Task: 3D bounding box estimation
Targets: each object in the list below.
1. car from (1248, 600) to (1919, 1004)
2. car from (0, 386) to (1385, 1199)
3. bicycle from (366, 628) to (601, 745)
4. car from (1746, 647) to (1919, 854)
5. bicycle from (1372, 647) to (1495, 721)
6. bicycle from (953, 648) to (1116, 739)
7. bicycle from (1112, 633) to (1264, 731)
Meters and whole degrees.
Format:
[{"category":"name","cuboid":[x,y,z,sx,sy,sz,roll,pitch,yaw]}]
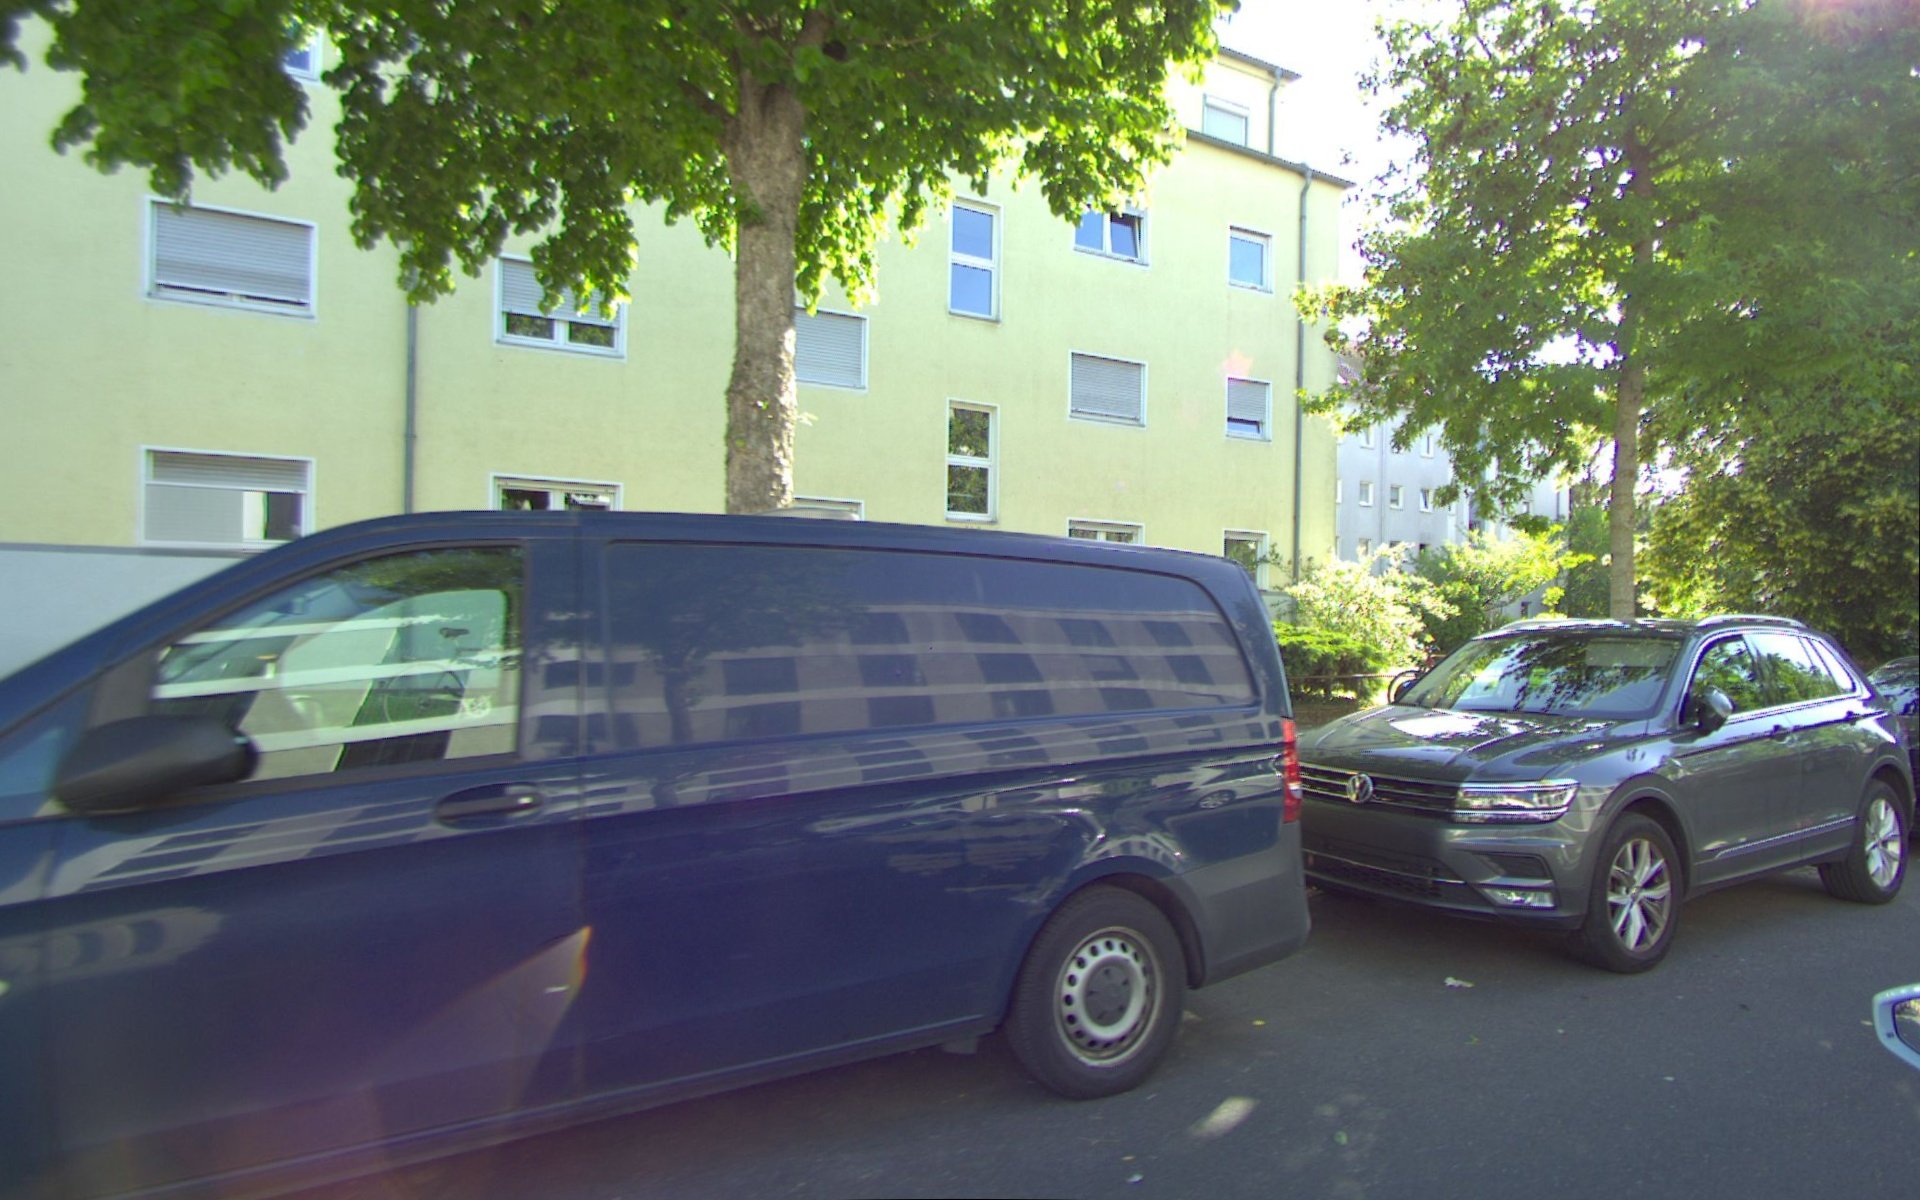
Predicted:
[{"category":"car","cuboid":[3.772,0.895,5.813,4.179,1.632,1.605,2,-2,-29]},{"category":"car","cuboid":[-1.102,0.607,3.392,5.074,1.929,1.820,2,-3,-26]},{"category":"bicycle","cuboid":[-4.388,0.771,9.353,1.903,1.005,0.592,1,-1,-27]},{"category":"car","cuboid":[8.416,1.125,8.236,4.007,1.446,1.606,2,-2,-28]},{"category":"bicycle","cuboid":[6.896,1.198,14.600,1.903,1.005,0.592,1,-1,-27]},{"category":"bicycle","cuboid":[0.897,1.079,11.923,1.903,1.005,0.592,1,-1,-27]},{"category":"bicycle","cuboid":[3.100,1.079,13.877,0.684,1.224,2.130,2,-2,-37]}]
